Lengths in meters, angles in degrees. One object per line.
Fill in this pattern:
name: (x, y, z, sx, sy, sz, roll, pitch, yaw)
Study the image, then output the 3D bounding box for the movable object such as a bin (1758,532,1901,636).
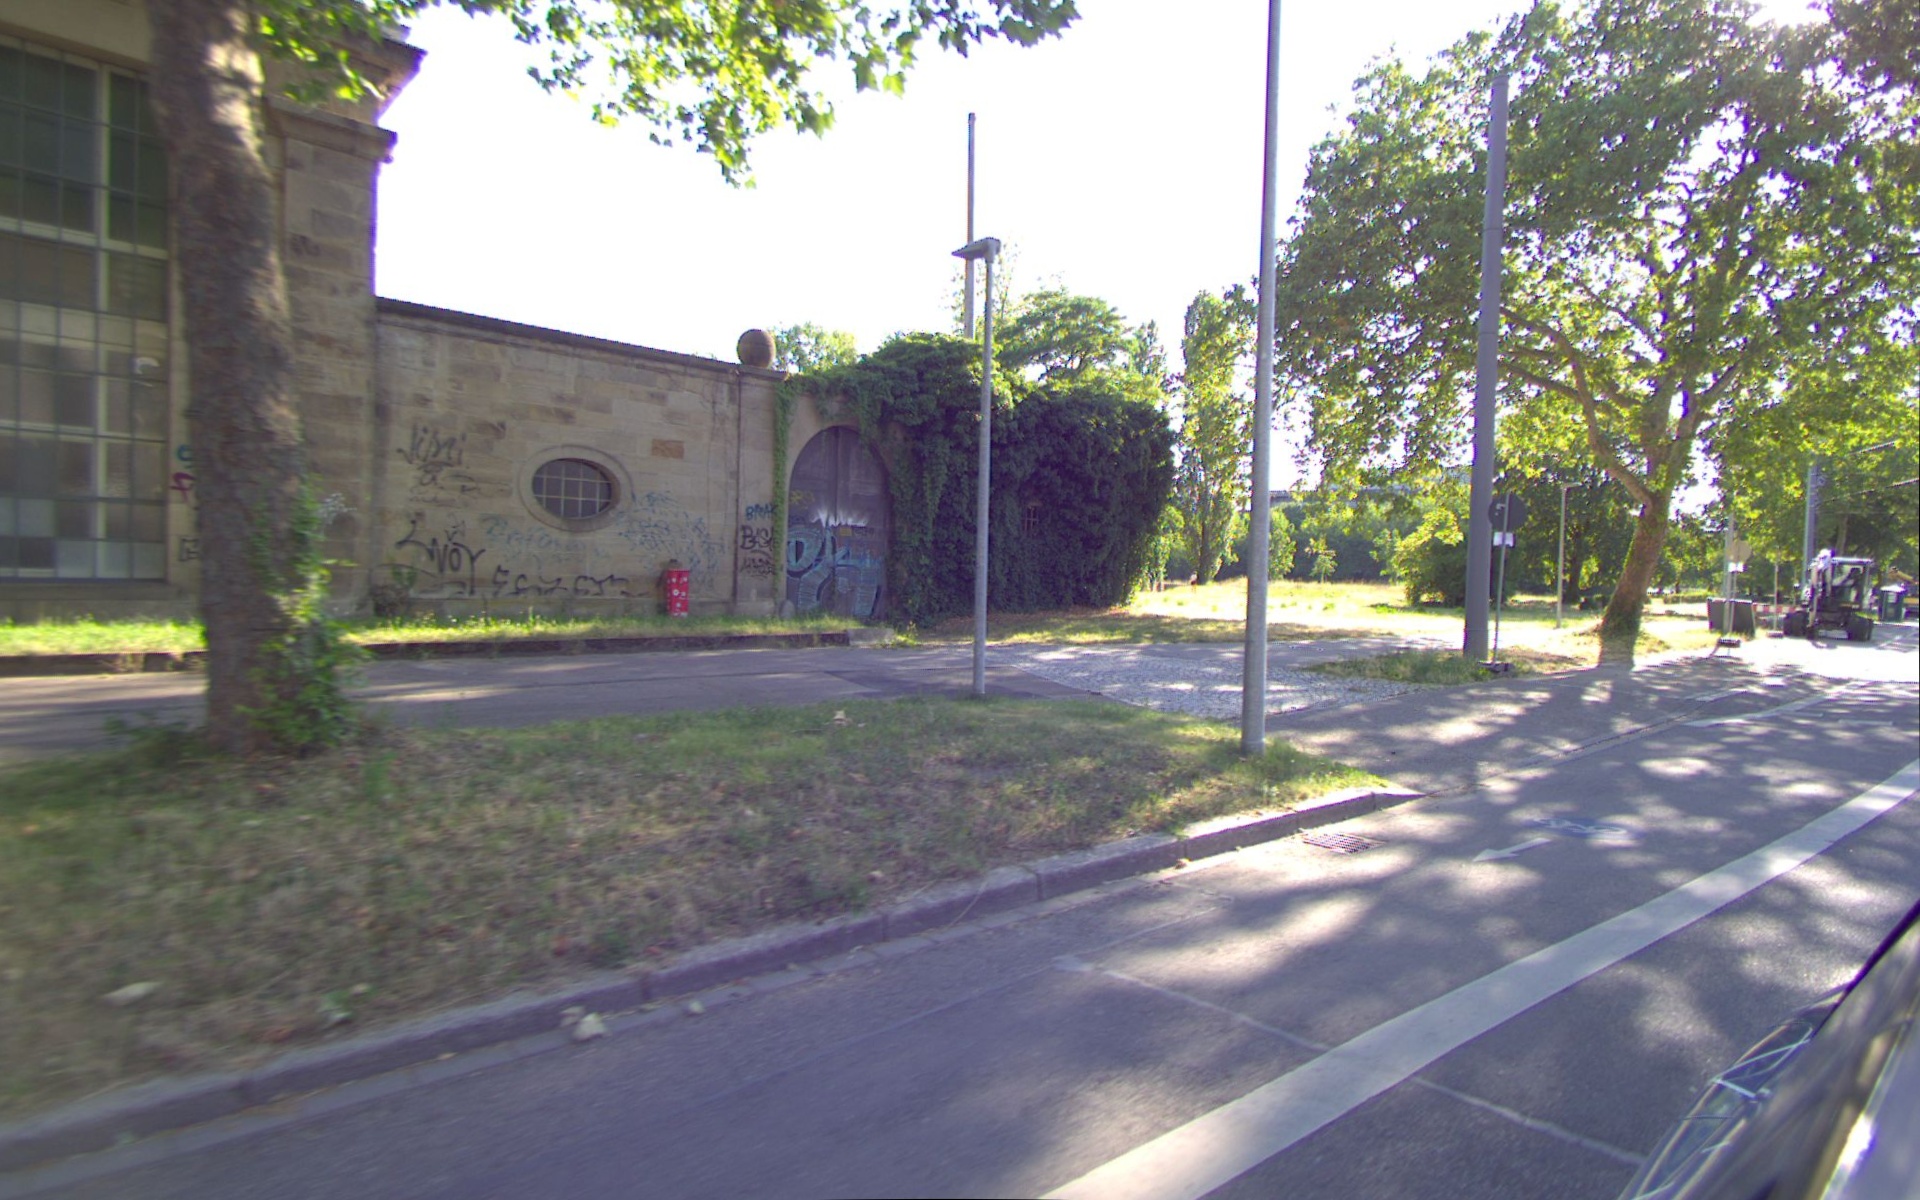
movable object such as a bin: (30.607, -0.551, 35.517, 7.096, 3.182, 2.750, 1, 5, -43)

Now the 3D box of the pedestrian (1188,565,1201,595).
pedestrian: (16.150, -1.391, 69.713, 0.854, 2.039, 1.263, 0, 1, 15)

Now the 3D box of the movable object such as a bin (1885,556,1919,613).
movable object such as a bin: (72.463, -1.097, 76.394, 3.342, 4.023, 7.477, 7, 5, 44)
